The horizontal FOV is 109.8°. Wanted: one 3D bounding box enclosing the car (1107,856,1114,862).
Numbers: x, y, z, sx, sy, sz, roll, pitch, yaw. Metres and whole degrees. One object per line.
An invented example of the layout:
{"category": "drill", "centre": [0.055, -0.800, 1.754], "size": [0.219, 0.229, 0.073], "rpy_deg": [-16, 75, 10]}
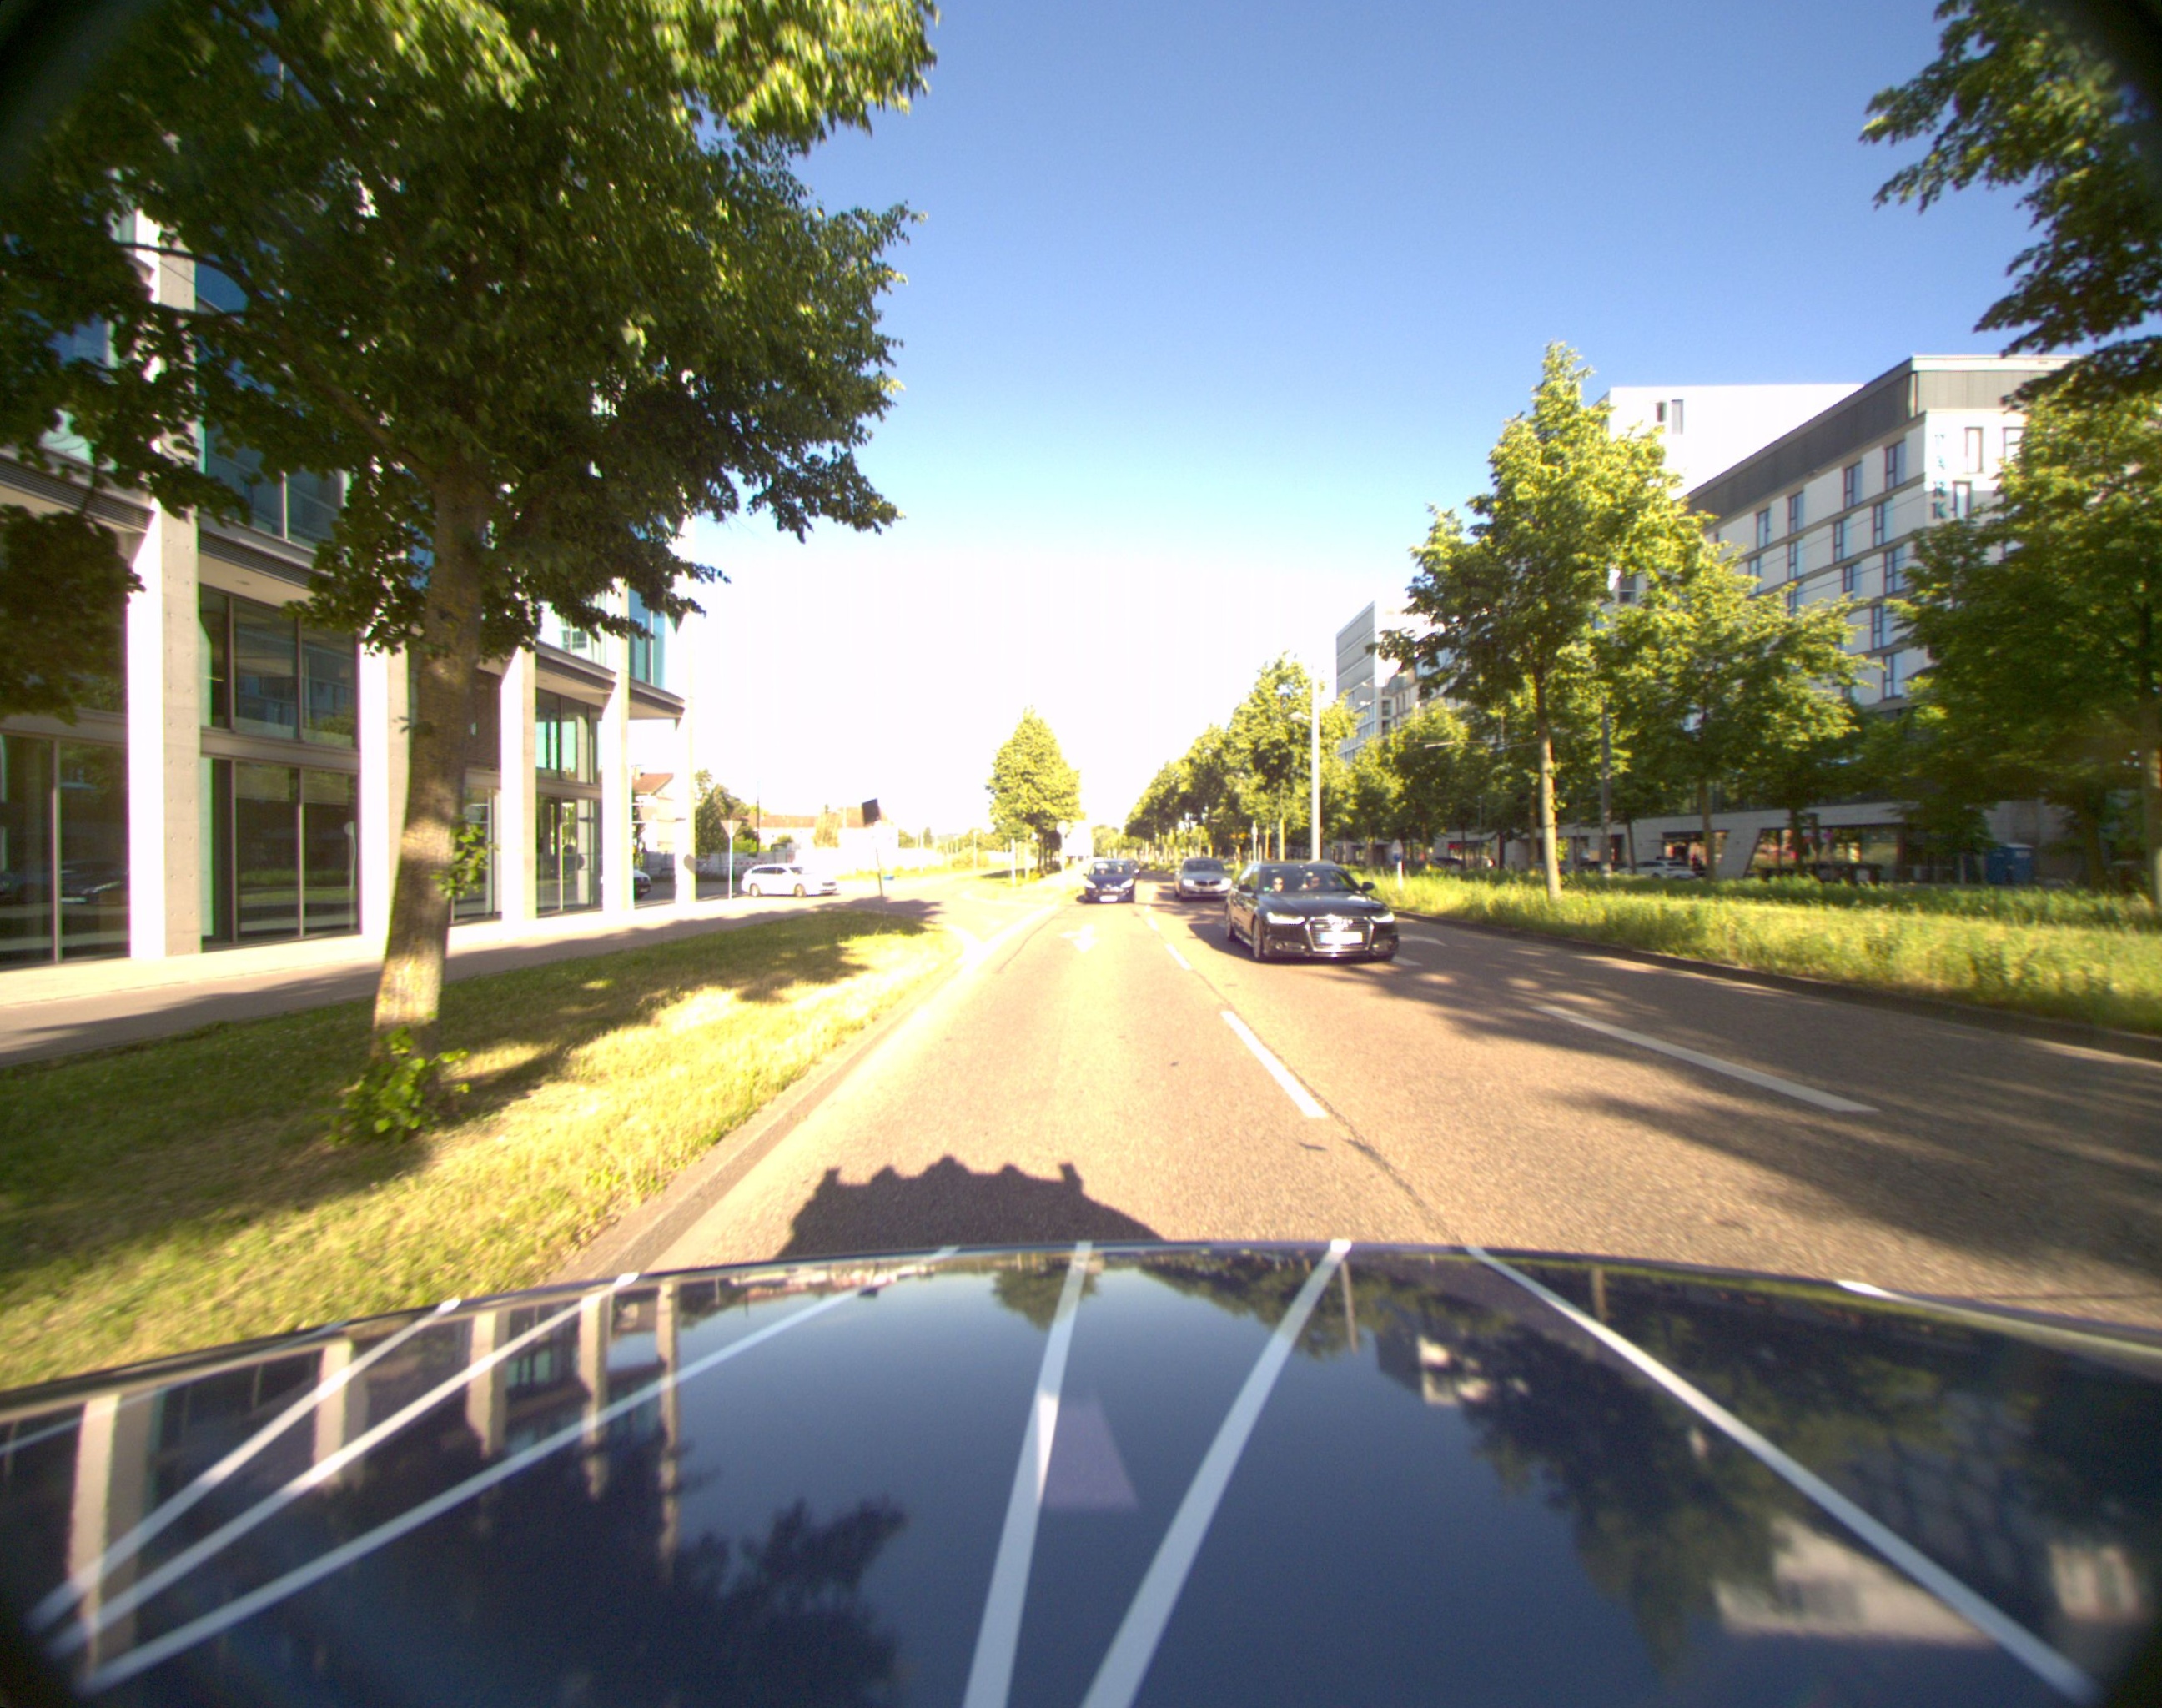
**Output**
{"category": "car", "centre": [7.245, 1.106, 187.091], "size": [1.878, 1.415, 4.344], "rpy_deg": [0, 0, 2]}

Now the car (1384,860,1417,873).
{"category": "car", "centre": [35.956, 1.345, 85.665], "size": [1.999, 1.387, 3.999], "rpy_deg": [0, 0, -2]}

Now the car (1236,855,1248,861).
{"category": "car", "centre": [35.759, 0.839, 169.026], "size": [1.998, 1.387, 4.001], "rpy_deg": [0, 0, 3]}

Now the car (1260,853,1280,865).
{"category": "car", "centre": [26.829, 0.692, 107.861], "size": [1.895, 1.671, 4.000], "rpy_deg": [0, 0, 1]}

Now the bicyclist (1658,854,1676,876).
{"category": "bicyclist", "centre": [37.453, 0.687, 48.543], "size": [0.478, 1.416, 0.820], "rpy_deg": [0, 1, 1]}

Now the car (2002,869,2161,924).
{"category": "car", "centre": [33.989, 1.336, 25.146], "size": [1.951, 1.588, 4.183], "rpy_deg": [0, 0, 1]}

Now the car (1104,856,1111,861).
{"category": "car", "centre": [7.382, 1.260, 211.153], "size": [1.724, 1.516, 4.000], "rpy_deg": [0, 0, 1]}

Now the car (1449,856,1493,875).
{"category": "car", "centre": [34.823, 0.996, 67.990], "size": [1.884, 1.588, 4.183], "rpy_deg": [0, 0, 1]}

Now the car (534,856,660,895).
{"category": "car", "centre": [-20.208, 0.886, 31.849], "size": [3.996, 1.569, 2.000], "rpy_deg": [0, 0, 3]}

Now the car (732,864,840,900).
{"category": "car", "centre": [-13.158, 1.210, 33.880], "size": [4.557, 1.439, 1.808], "rpy_deg": [0, 1, 24]}

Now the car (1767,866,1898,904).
{"category": "car", "centre": [34.524, 1.375, 35.088], "size": [1.951, 1.588, 4.183], "rpy_deg": [0, 0, 1]}

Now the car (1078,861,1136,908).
{"category": "car", "centre": [0.869, 1.016, 26.850], "size": [1.846, 1.473, 4.481], "rpy_deg": [0, 0, 1]}

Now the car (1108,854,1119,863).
{"category": "car", "centre": [6.140, 0.832, 143.350], "size": [1.861, 1.482, 4.000], "rpy_deg": [0, 0, 1]}

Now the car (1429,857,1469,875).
{"category": "car", "centre": [35.230, 1.129, 72.901], "size": [1.884, 1.588, 4.183], "rpy_deg": [0, 0, 1]}

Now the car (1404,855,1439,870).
{"category": "car", "centre": [35.280, 0.857, 78.819], "size": [1.884, 1.588, 4.183], "rpy_deg": [0, 0, 1]}

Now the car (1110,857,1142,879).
{"category": "car", "centre": [3.150, 0.962, 53.979], "size": [1.998, 1.437, 4.622], "rpy_deg": [0, 0, 1]}

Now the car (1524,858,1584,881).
{"category": "car", "centre": [34.962, 1.121, 56.309], "size": [1.884, 1.588, 4.183], "rpy_deg": [0, 0, 1]}

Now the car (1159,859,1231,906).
{"category": "car", "centre": [3.936, 0.936, 26.952], "size": [1.824, 1.476, 4.560], "rpy_deg": [0, 0, 0]}

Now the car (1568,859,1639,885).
{"category": "car", "centre": [35.002, 1.178, 51.026], "size": [1.884, 1.588, 4.183], "rpy_deg": [0, 0, 1]}

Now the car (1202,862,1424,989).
{"category": "car", "centre": [3.218, 0.896, 11.734], "size": [1.879, 1.476, 4.966], "rpy_deg": [0, 0, 0]}

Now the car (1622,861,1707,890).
{"category": "car", "centre": [34.721, 1.251, 45.346], "size": [1.884, 1.588, 4.183], "rpy_deg": [0, 0, 1]}
